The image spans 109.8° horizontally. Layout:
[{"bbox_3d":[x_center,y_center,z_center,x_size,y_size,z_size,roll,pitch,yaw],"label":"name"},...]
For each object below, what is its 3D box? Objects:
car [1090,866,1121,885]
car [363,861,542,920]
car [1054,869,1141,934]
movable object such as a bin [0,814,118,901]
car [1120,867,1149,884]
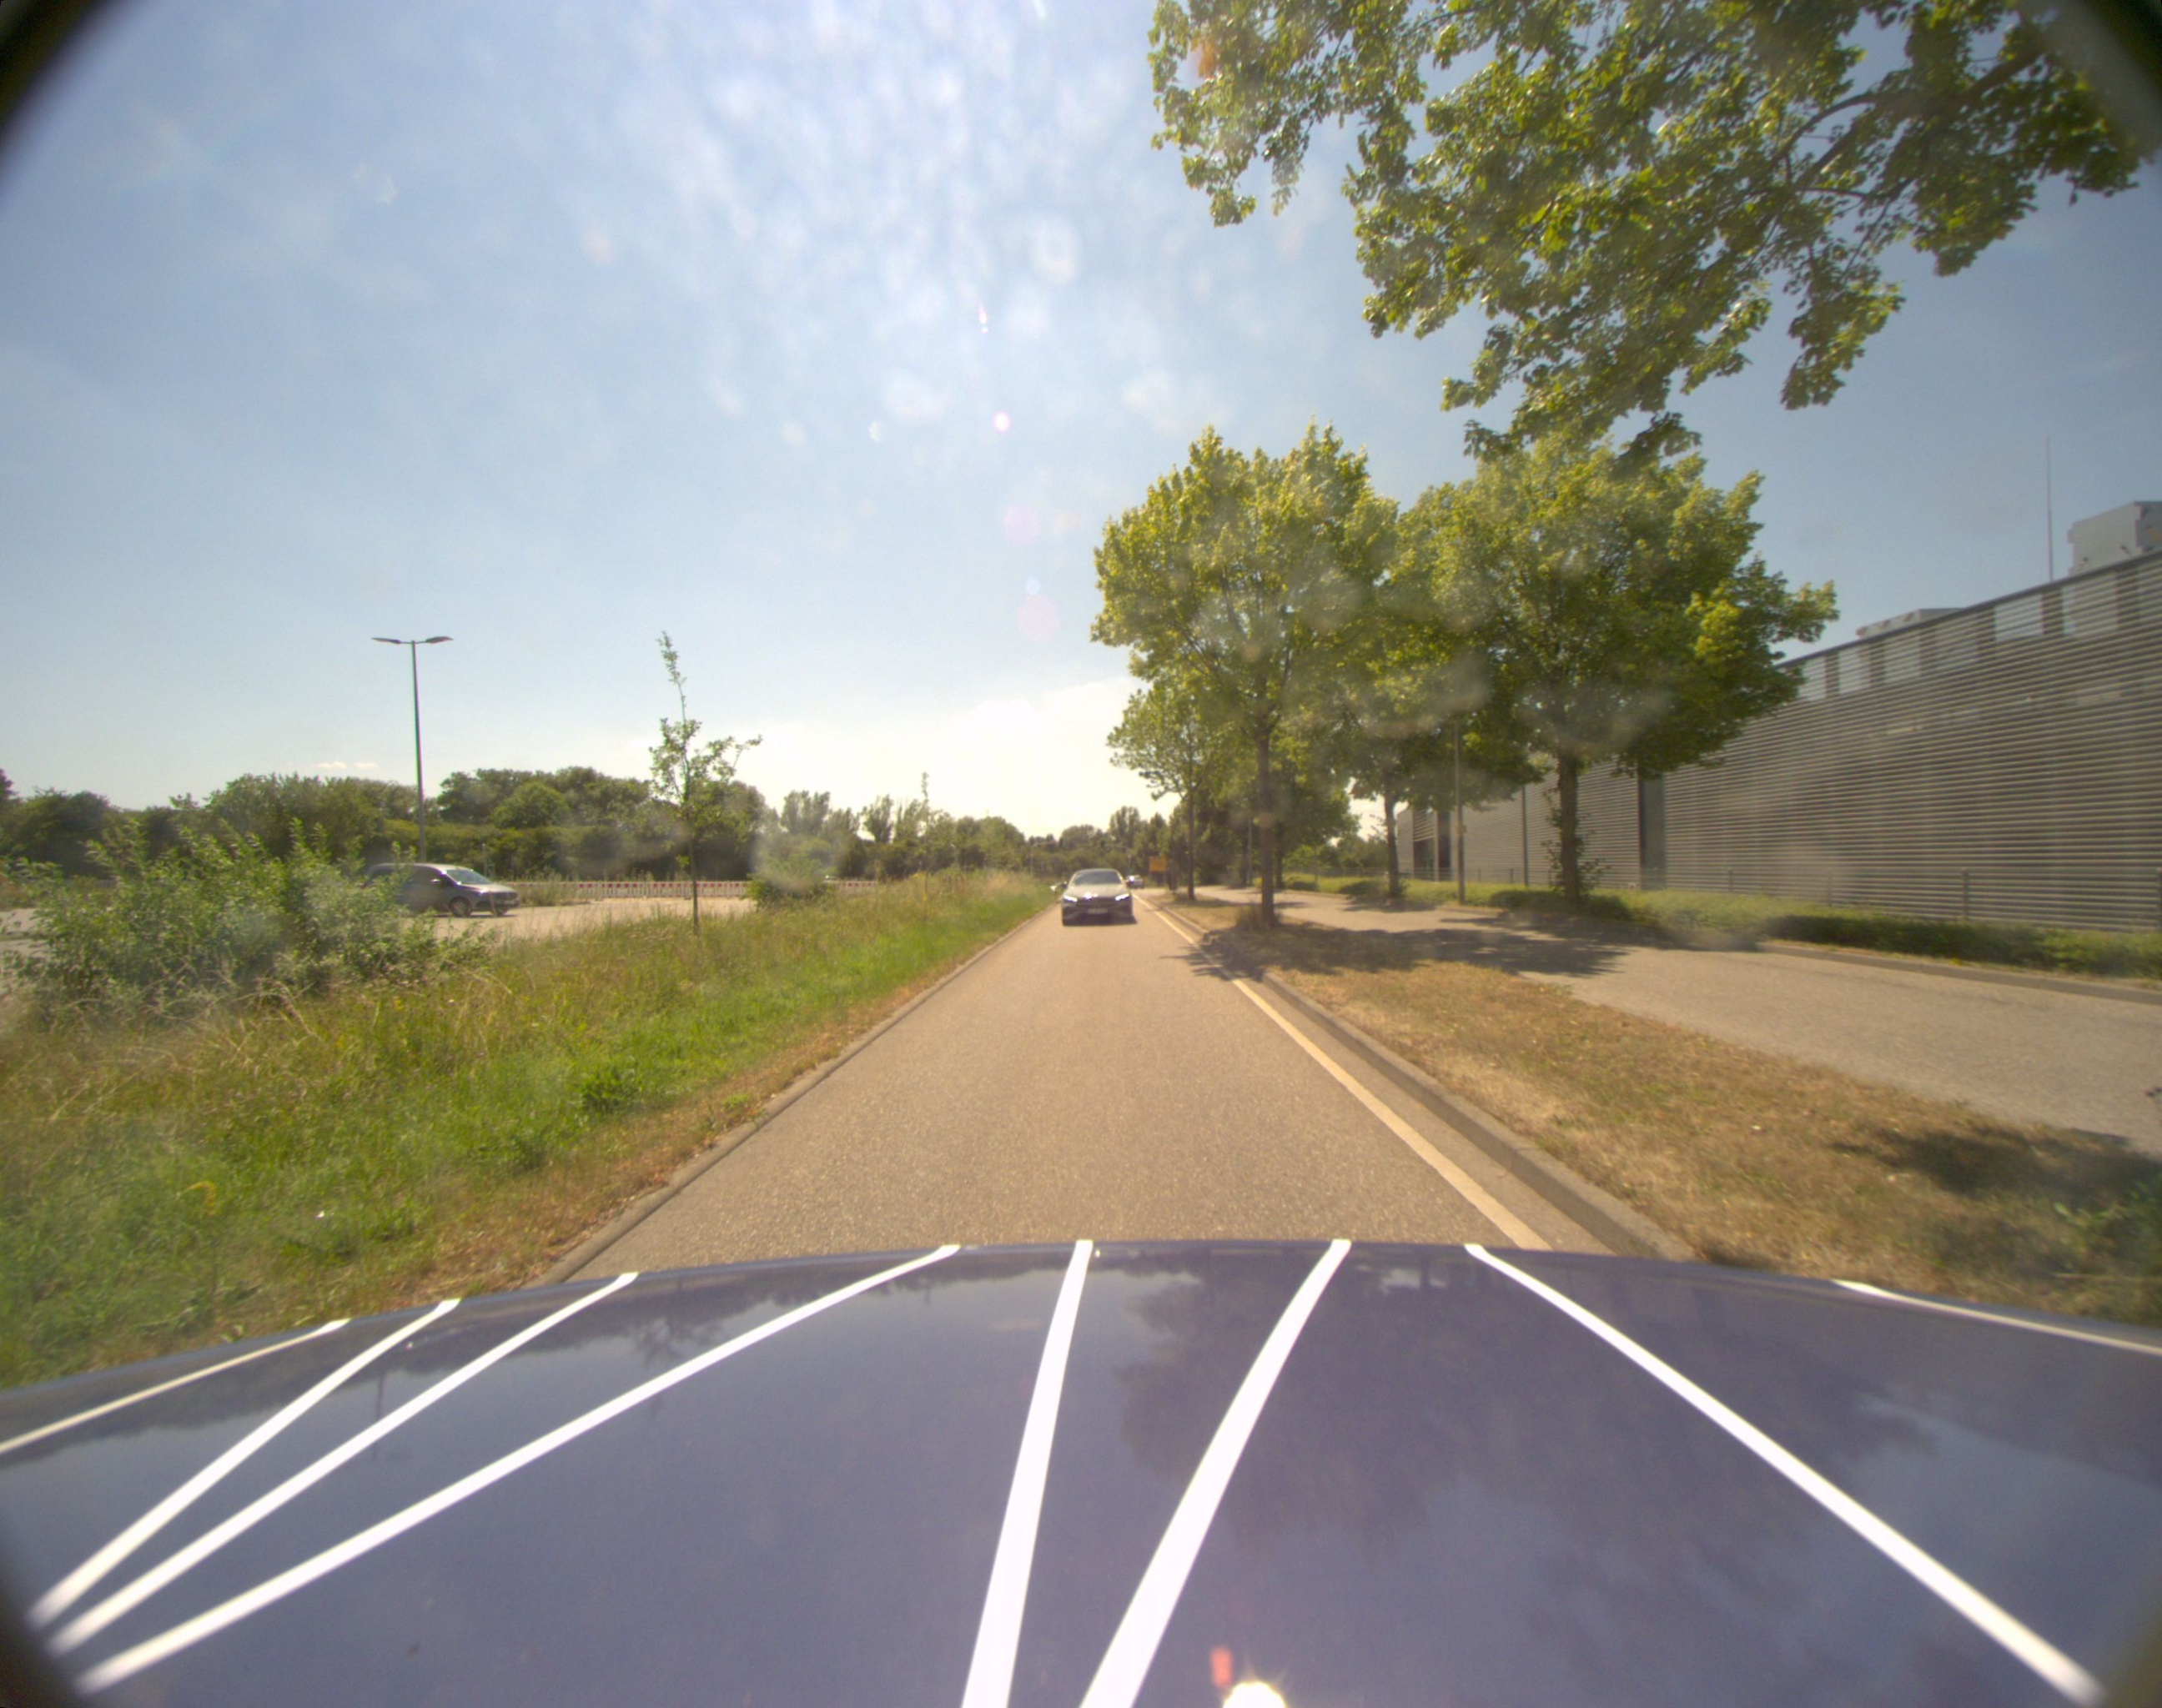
[{"bbox_3d":[2.725,2.400,85.874,2.001,1.931,4.865,-4,0,-16],"label":"car"},{"bbox_3d":[-21.463,1.225,26.073,4.474,1.903,1.940,0,-1,0],"label":"car"},{"bbox_3d":[0.560,1.183,20.228,1.921,1.433,4.485,-4,-2,5],"label":"car"},{"bbox_3d":[-52.540,0.161,35.850,8.121,4.018,2.981,3,-4,-33],"label":"movable object such as a bin"},{"bbox_3d":[6.063,2.397,86.519,2.001,1.697,3.860,-4,0,-16],"label":"car"}]
